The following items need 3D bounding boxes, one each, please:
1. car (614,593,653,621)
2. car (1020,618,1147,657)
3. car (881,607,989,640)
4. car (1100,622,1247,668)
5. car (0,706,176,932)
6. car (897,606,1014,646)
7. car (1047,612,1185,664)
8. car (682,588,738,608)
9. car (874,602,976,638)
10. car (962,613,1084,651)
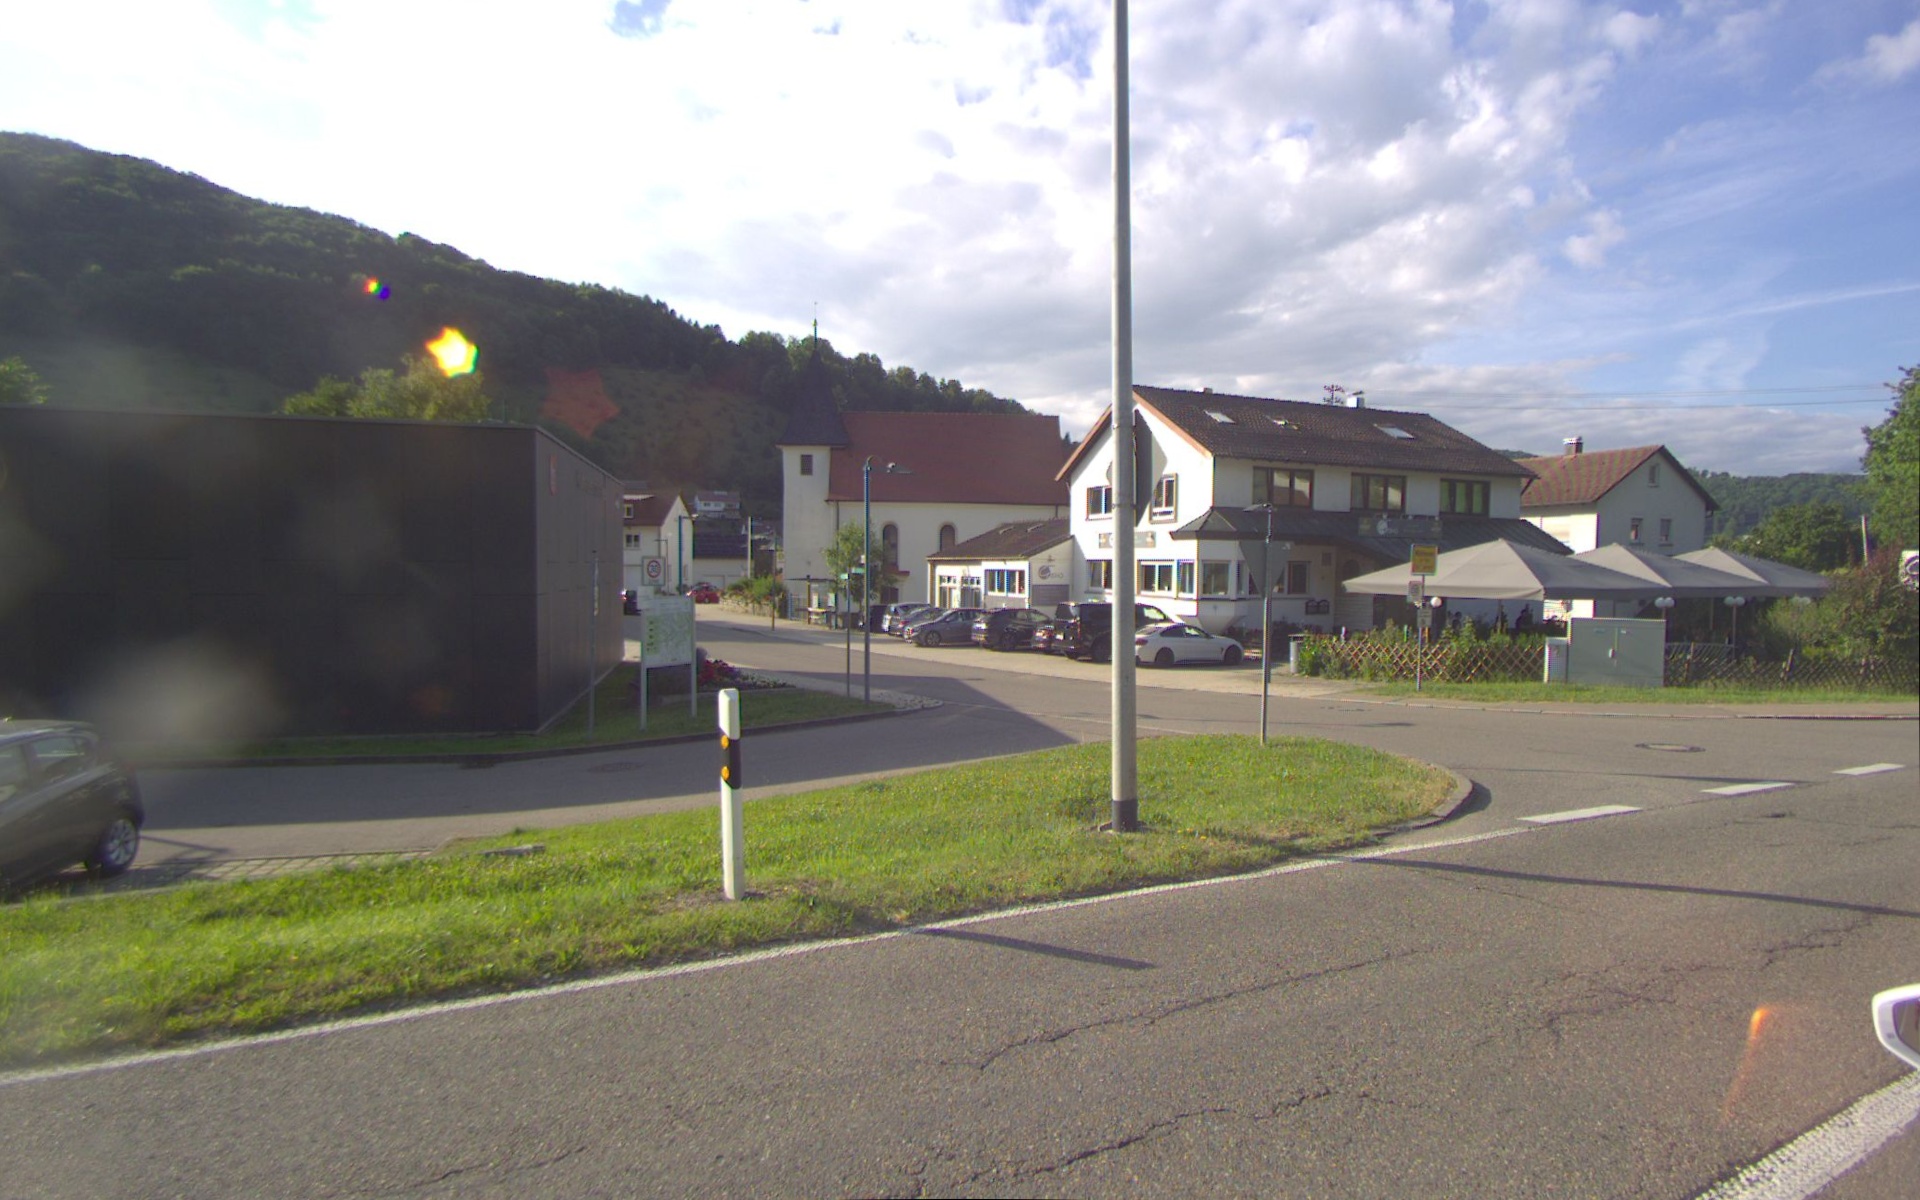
[{"bbox_3d":[-20.921,0.456,64.215,1.867,1.706,3.974,0,0,-26],"label":"car"},{"bbox_3d":[4.717,1.408,38.266,4.518,1.408,1.986,1,-1,-27],"label":"car"},{"bbox_3d":[-1.115,1.087,45.471,4.518,1.431,1.986,1,-1,-27],"label":"car"},{"bbox_3d":[7.008,1.436,32.915,4.518,1.408,1.986,1,-1,-27],"label":"car"},{"bbox_3d":[-8.443,1.807,8.030,1.801,1.555,3.992,1,-1,-12],"label":"car"},{"bbox_3d":[-0.177,1.092,42.308,4.518,1.618,1.986,1,-1,-27],"label":"car"},{"bbox_3d":[5.461,1.314,35.117,4.518,1.707,1.986,1,-1,-27],"label":"car"},{"bbox_3d":[-20.060,-0.138,80.722,1.972,1.528,3.977,1,0,43],"label":"car"},{"bbox_3d":[-1.657,0.971,48.069,4.518,1.665,1.986,1,-1,-27],"label":"car"},{"bbox_3d":[2.539,1.272,40.164,4.518,1.431,1.986,1,-1,-27],"label":"car"}]
